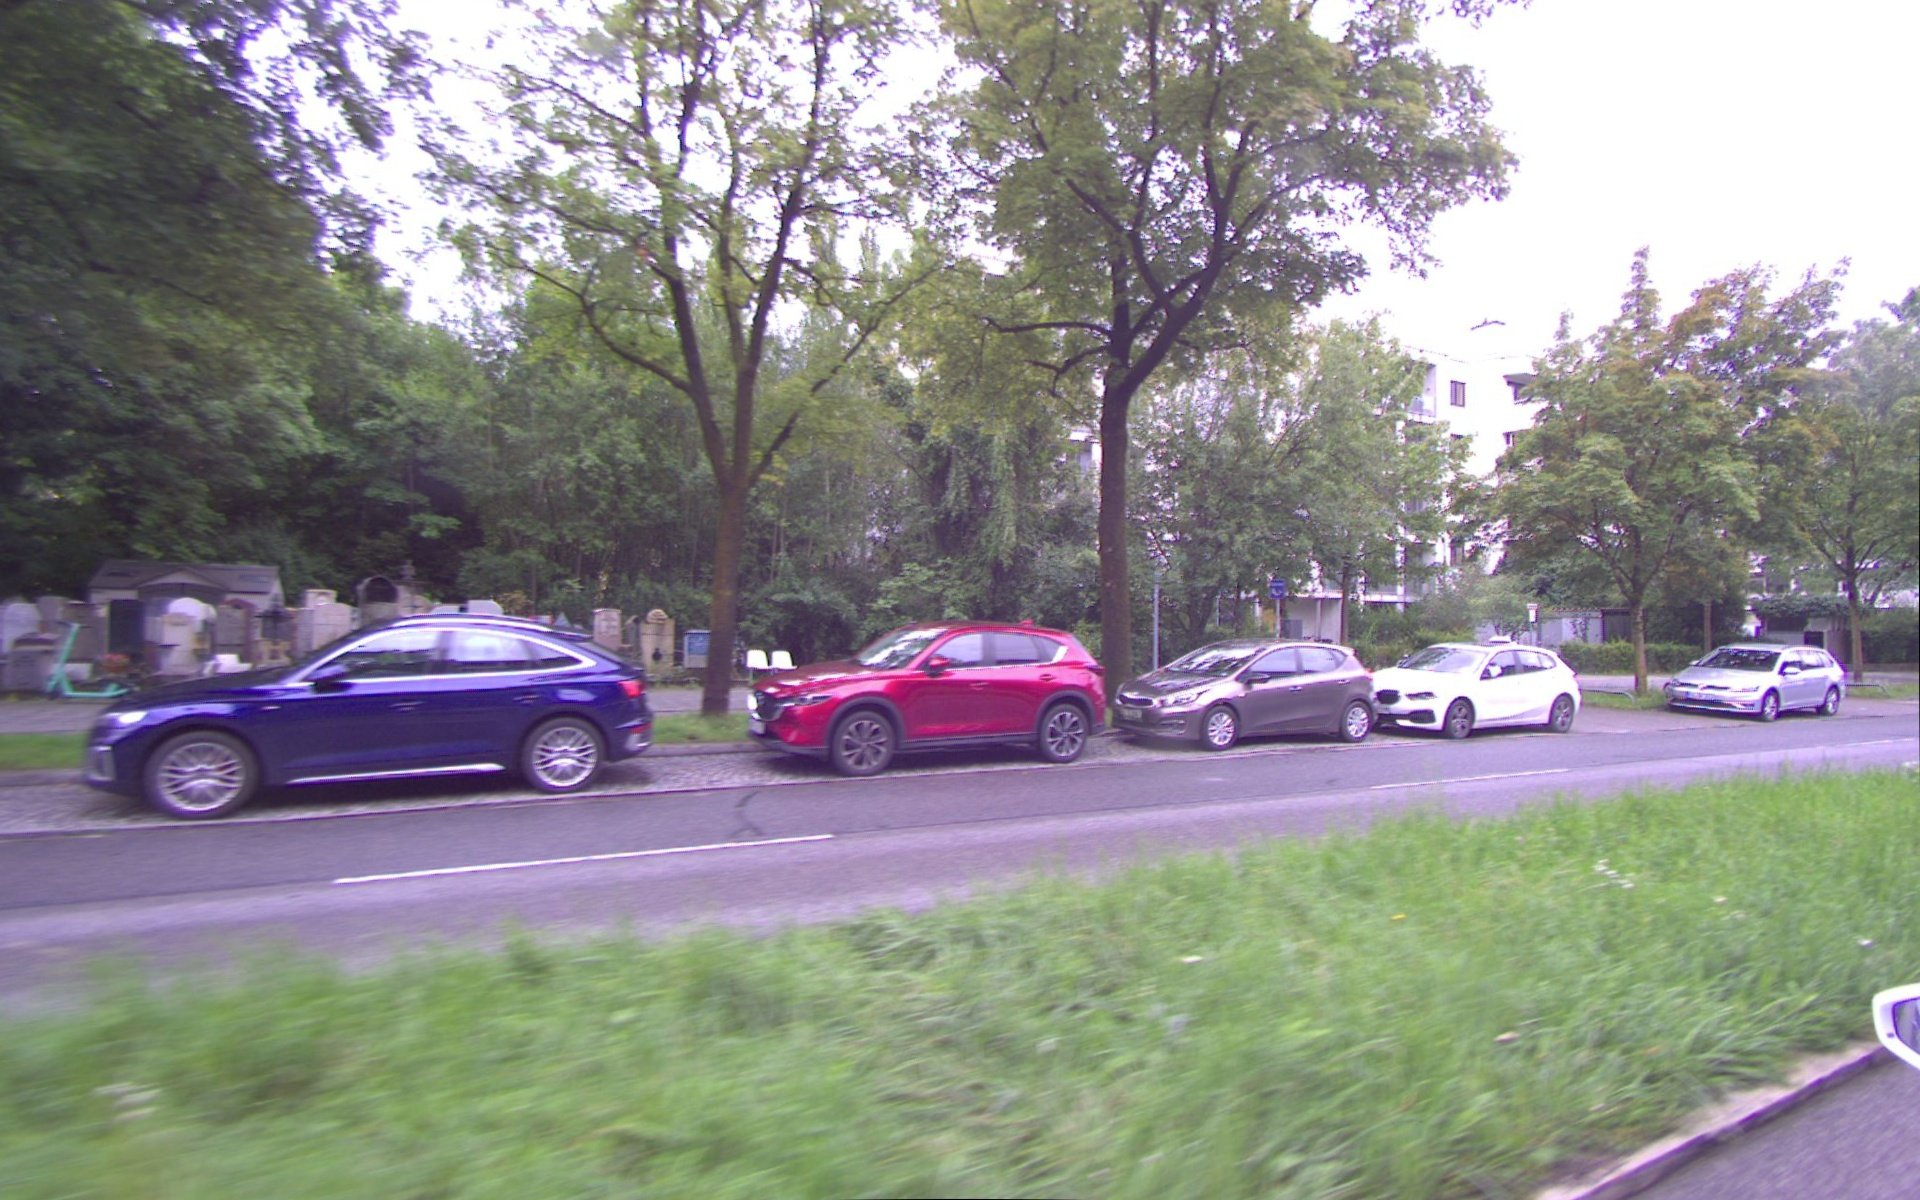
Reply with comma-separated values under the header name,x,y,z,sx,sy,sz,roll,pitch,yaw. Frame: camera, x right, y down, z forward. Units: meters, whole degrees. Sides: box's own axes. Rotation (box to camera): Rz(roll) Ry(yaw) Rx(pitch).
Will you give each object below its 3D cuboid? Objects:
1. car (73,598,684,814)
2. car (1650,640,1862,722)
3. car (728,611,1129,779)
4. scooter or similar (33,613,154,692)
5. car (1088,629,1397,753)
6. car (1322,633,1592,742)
name,x,y,z,sx,sy,sz,roll,pitch,yaw
car,-5.174,0.884,9.615,4.624,1.665,1.732,2,0,-27
car,16.929,1.664,21.315,4.762,1.468,1.729,2,1,-28
car,-0.313,1.041,12.146,4.550,1.673,1.731,2,1,-29
scooter or similar,-12.812,0.774,14.878,1.268,1.141,0.435,1,-2,-15
car,4.134,1.241,14.593,4.278,1.502,1.732,2,0,-27
car,8.307,1.382,16.721,4.418,1.550,1.732,2,0,-27
